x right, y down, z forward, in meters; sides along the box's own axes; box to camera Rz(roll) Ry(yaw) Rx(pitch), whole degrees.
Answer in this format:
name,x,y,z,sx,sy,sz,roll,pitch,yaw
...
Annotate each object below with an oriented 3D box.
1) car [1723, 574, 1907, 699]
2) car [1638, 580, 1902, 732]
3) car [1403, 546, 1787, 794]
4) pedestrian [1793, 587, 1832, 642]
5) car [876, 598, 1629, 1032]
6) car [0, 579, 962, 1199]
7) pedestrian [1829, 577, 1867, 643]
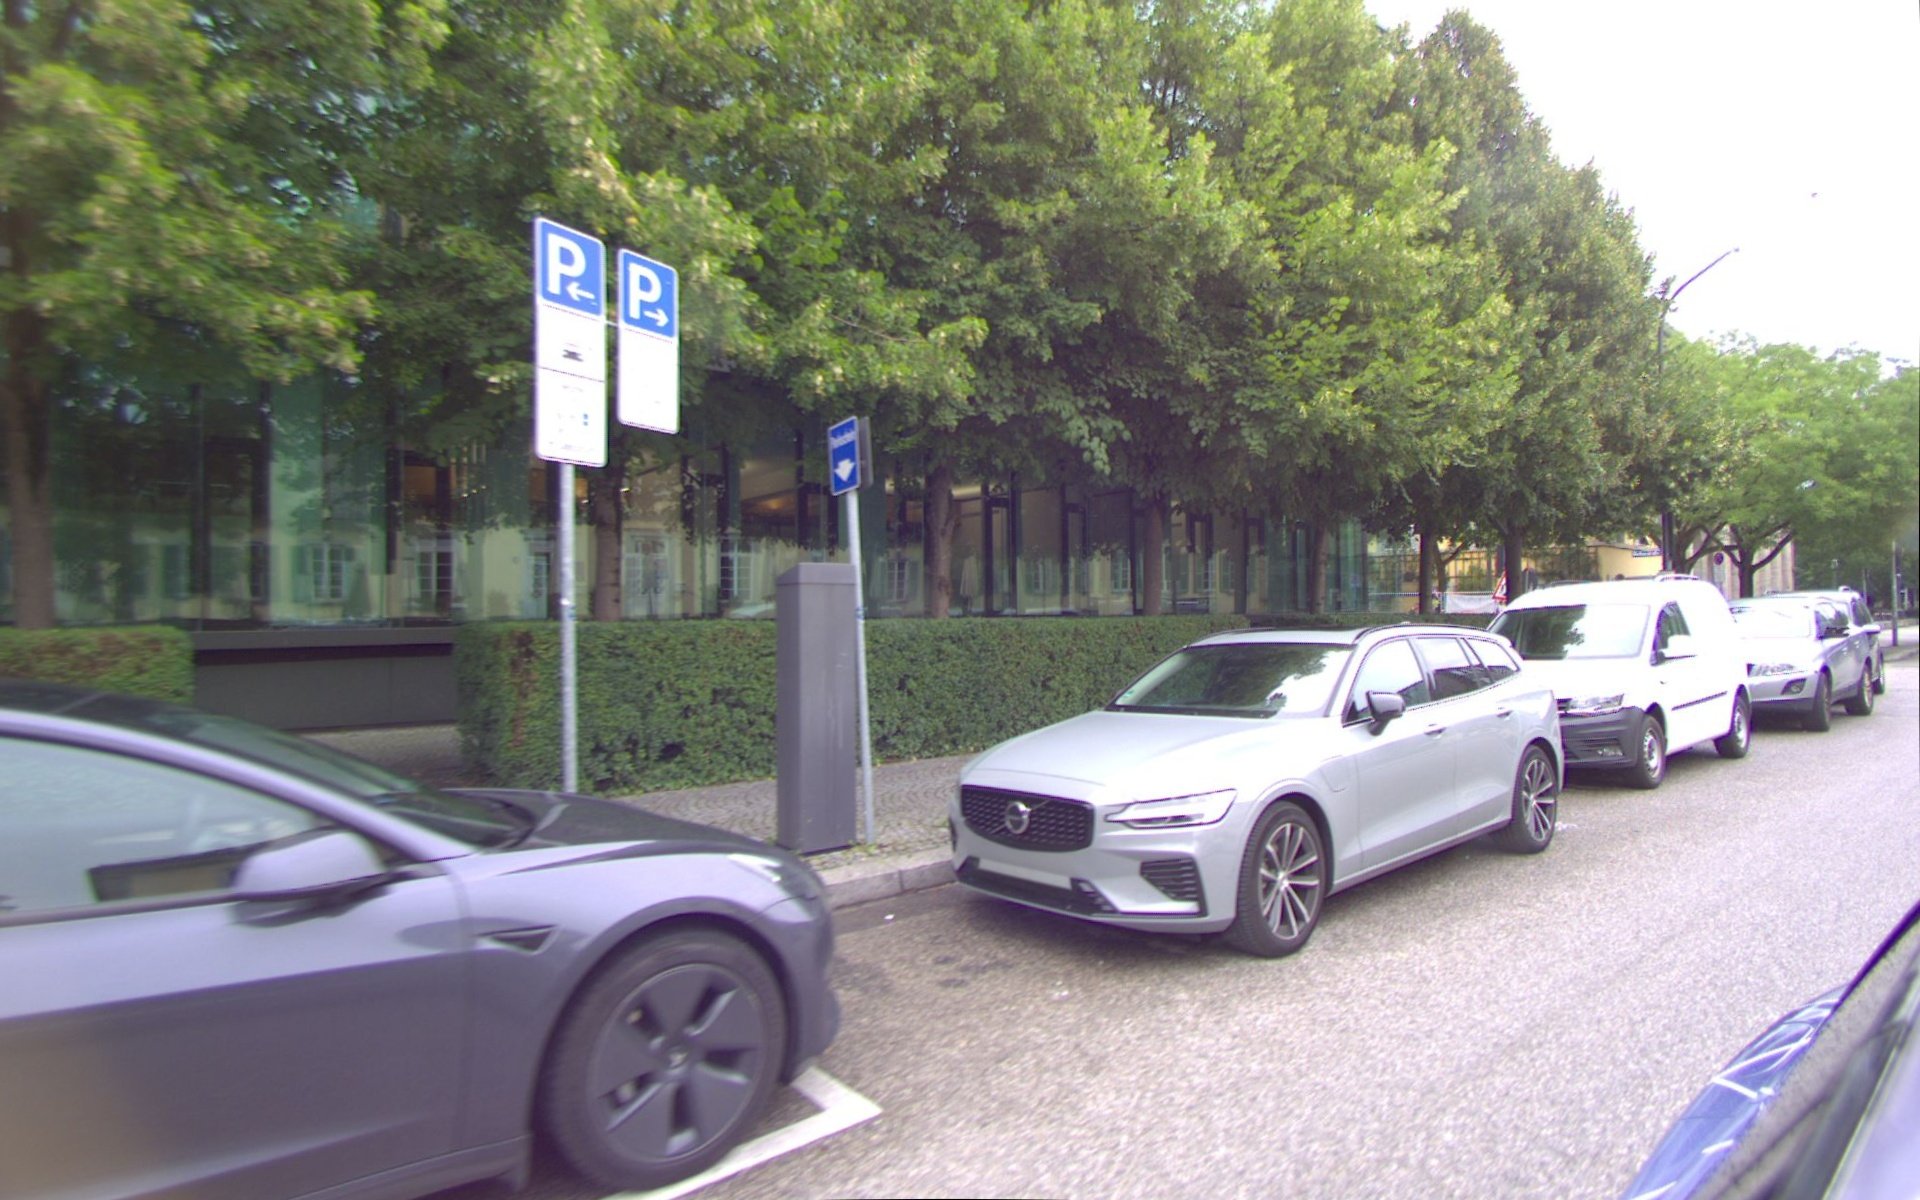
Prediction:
name,x,y,z,sx,sy,sz,roll,pitch,yaw
car,14.360,0.553,16.919,4.275,1.831,1.811,0,-2,-43
car,11.021,0.647,13.644,4.700,1.713,1.870,0,-2,-41
car,6.379,0.556,9.958,4.492,1.920,1.788,0,-2,-39
pedestrian,28.094,0.484,33.365,0.690,1.782,0.682,-2,-2,18
car,2.071,0.822,6.096,4.917,1.572,1.950,0,-2,-41
car,-2.476,0.783,2.520,4.761,1.572,1.966,0,-2,-39
pedestrian,28.274,0.326,32.226,0.685,2.040,0.885,-3,-2,33
